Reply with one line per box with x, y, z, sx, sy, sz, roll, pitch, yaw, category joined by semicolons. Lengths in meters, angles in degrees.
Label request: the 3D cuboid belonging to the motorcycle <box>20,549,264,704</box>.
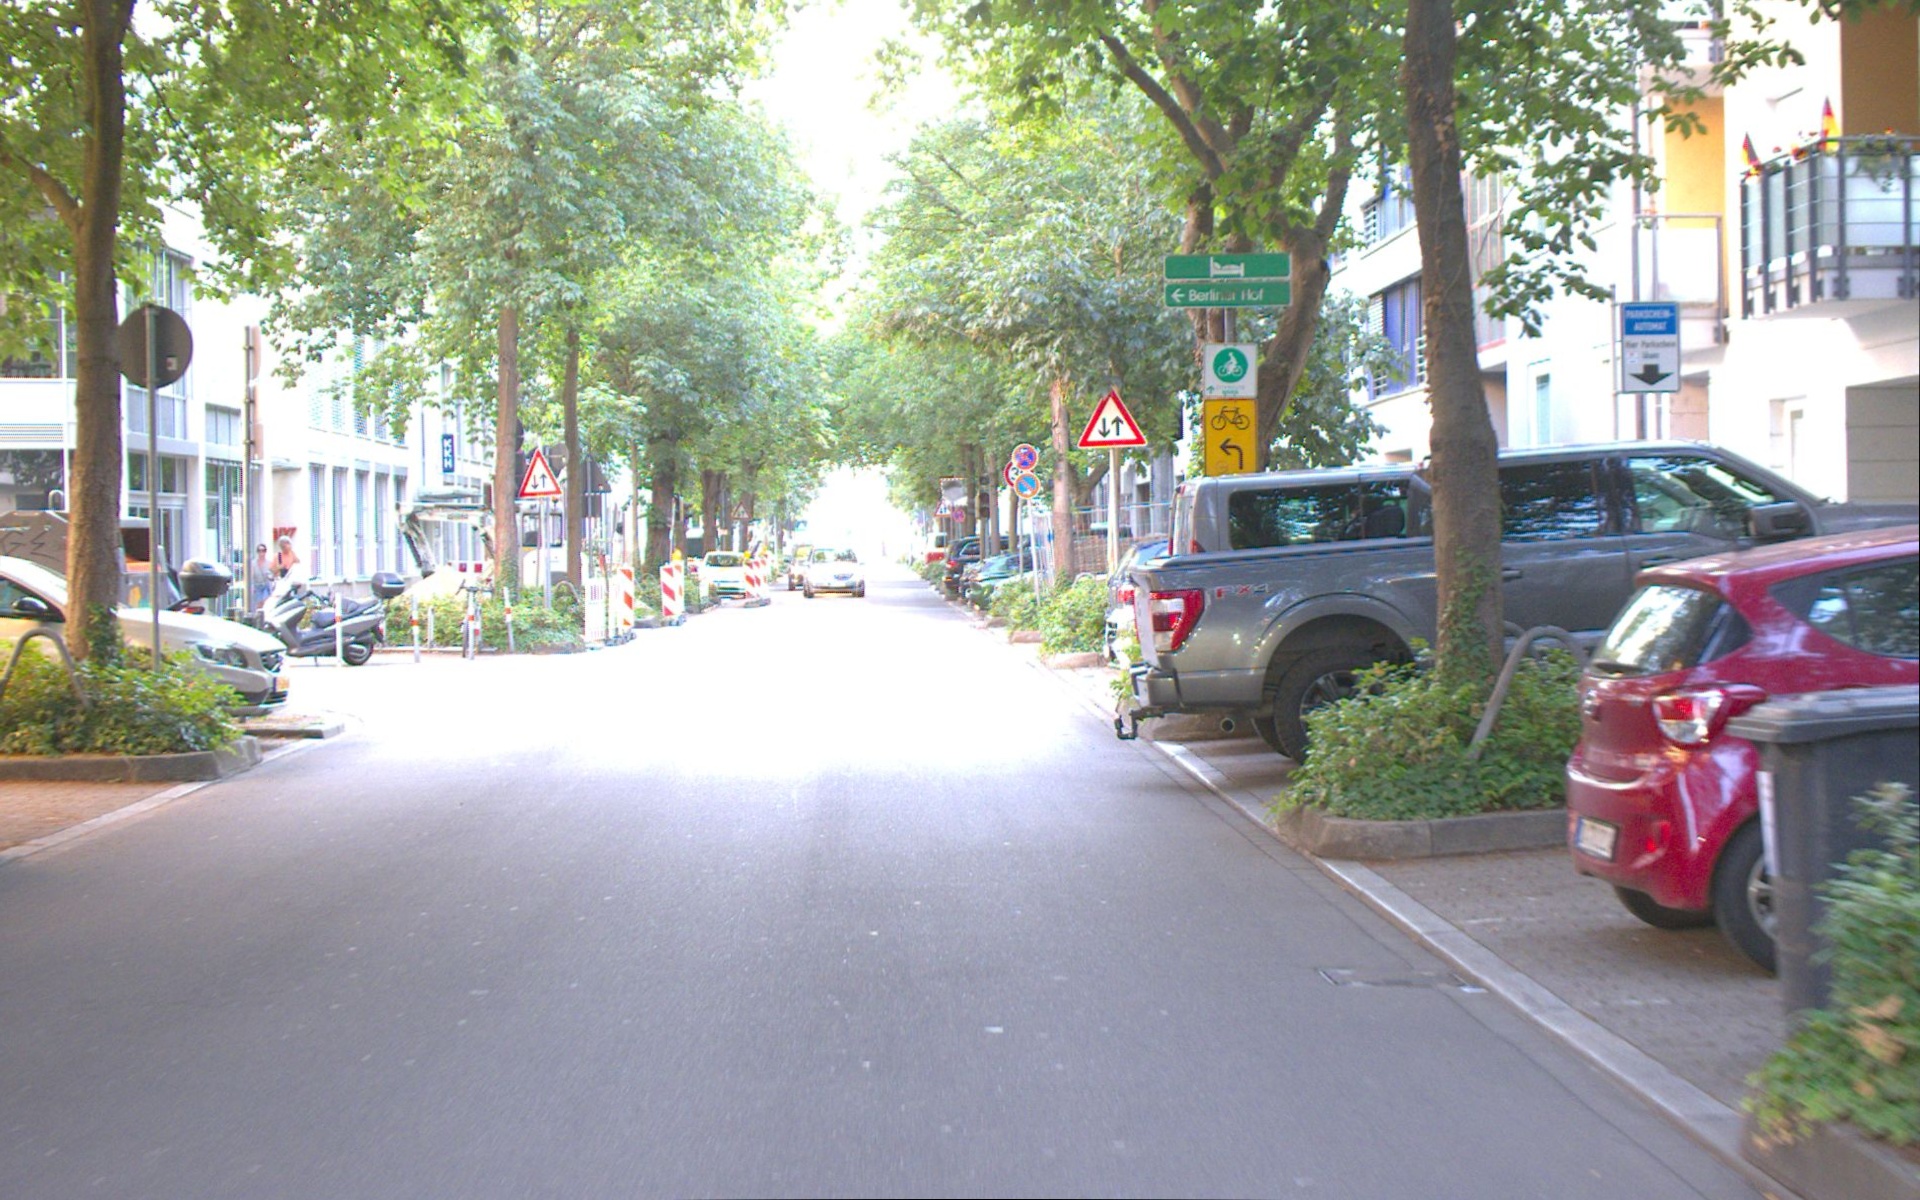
-7.750;0.242;32.540;2.250;1.415;0.851;0;1;30;motorcycle

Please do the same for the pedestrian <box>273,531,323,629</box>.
-11.544;-0.353;59.944;0.739;1.684;0.607;-1;1;0;pedestrian

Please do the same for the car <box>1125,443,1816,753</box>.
3.612;-0.039;24.987;4.600;2.059;2.198;-1;1;-2;car

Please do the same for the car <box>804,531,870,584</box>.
-3.854;-1.332;107.242;2.009;1.607;4.120;-1;1;-2;car

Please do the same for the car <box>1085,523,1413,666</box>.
3.267;-0.077;39.321;3.538;1.558;1.832;-1;1;-1;car

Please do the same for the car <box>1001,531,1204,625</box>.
2.858;-0.455;69.073;3.987;1.798;2.000;-1;1;3;car

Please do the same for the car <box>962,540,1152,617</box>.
2.064;-0.466;73.640;3.987;1.579;2.000;-1;1;1;car

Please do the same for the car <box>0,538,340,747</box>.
-7.332;0.307;26.713;4.619;1.547;2.075;0;1;1;car

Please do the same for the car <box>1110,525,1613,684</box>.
3.927;0.029;34.277;4.782;1.515;1.991;0;1;0;car

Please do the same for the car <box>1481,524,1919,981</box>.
3.974;0.490;12.634;3.776;1.539;1.878;0;1;-2;car

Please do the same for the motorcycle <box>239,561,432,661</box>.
-8.450;0.135;46.575;2.350;1.277;1.067;-2;2;-41;motorcycle

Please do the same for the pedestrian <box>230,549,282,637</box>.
-12.302;-0.127;60.074;0.769;1.530;0.643;-1;1;-1;pedestrian

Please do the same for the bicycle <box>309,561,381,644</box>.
-8.958;0.020;50.160;0.683;1.148;1.981;-1;1;0;bicycle

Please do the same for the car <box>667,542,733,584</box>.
-8.304;-1.200;109.481;1.993;1.284;4.001;-1;1;-5;car

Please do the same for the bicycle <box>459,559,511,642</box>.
-6.925;-0.001;50.215;0.683;1.148;1.981;-1;1;-6;bicycle

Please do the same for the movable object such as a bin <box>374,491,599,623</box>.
-8.860;-0.825;64.569;4.045;2.375;2.785;-1;1;-7;movable object such as a bin

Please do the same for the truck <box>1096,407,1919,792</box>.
3.891;-0.028;22.247;5.887;2.303;2.212;-1;1;0;truck

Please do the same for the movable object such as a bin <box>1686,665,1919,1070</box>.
2.611;0.758;10.059;0.760;1.080;0.785;-2;1;0;movable object such as a bin

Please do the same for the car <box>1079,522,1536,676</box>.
3.643;-0.030;36.666;4.621;1.566;2.011;0;1;-1;car

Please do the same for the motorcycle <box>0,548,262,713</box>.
-7.520;0.263;30.468;2.453;1.415;0.911;-1;1;1;motorcycle
